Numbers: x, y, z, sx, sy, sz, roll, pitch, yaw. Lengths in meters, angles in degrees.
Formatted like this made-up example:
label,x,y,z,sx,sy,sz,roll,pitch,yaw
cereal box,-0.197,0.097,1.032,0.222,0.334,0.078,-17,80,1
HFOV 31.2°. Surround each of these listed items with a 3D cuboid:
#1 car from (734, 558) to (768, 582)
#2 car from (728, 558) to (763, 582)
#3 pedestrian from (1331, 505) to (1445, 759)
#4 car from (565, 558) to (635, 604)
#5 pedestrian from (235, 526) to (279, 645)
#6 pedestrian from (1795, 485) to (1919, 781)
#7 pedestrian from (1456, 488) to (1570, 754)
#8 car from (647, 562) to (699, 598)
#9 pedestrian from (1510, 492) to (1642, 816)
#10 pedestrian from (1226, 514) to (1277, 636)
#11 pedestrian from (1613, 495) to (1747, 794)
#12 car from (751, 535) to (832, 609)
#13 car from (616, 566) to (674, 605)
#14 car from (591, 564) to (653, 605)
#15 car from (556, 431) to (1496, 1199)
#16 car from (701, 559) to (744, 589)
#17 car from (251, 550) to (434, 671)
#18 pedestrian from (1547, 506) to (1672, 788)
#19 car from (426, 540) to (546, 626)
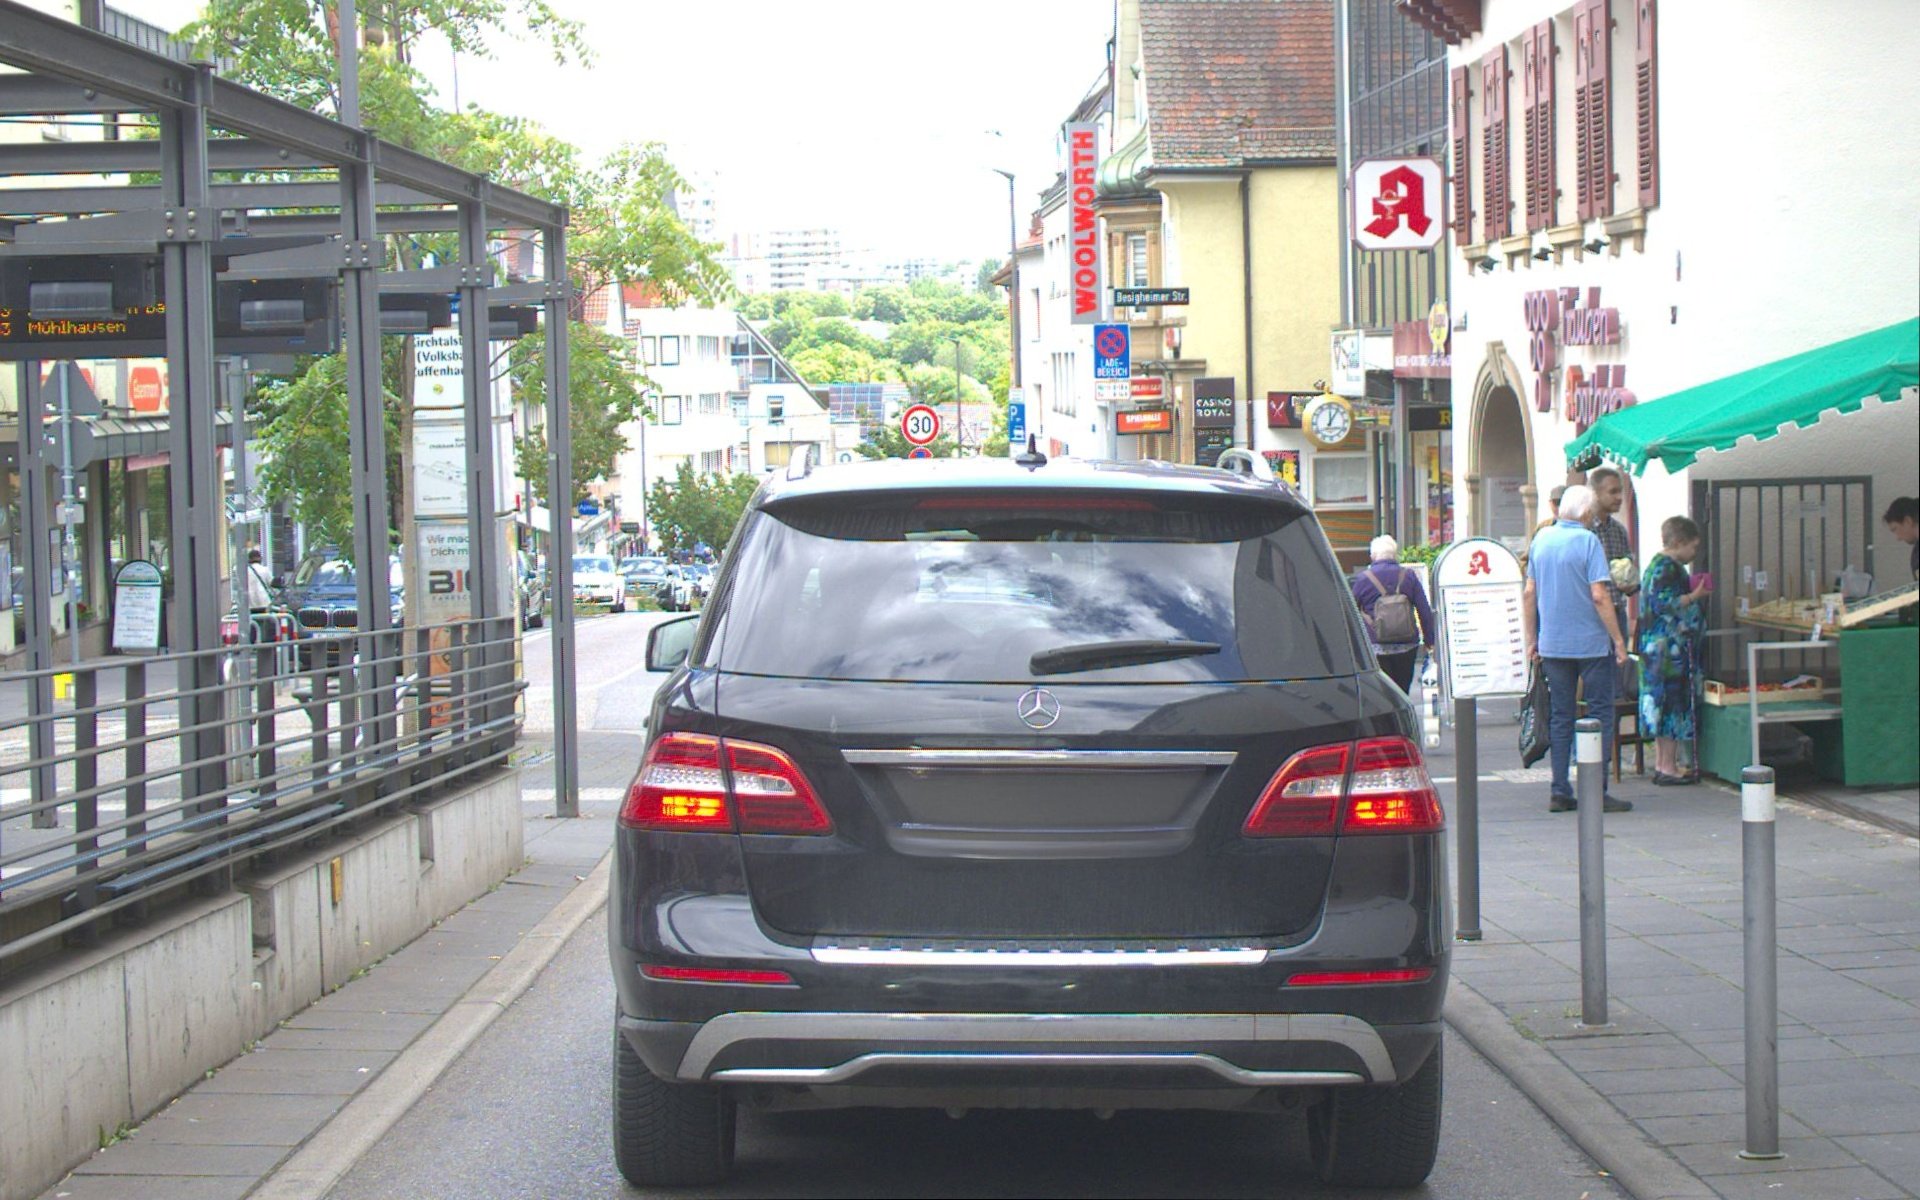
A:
label,x,y,z,sx,sy,sz,roll,pitch,yaw
car,-9.963,-1.434,164.025,1.388,1.066,3.113,-1,1,0
car,-9.913,-1.382,158.737,1.388,1.066,3.113,-1,1,0
pedestrian,2.886,0.209,23.194,0.621,1.683,0.566,1,1,-6
car,-8.883,-0.481,85.039,1.388,1.066,3.113,-1,1,0
pedestrian,-10.059,-0.214,49.208,0.513,1.683,0.541,1,1,-1
pedestrian,5.243,0.182,19.968,0.573,1.683,0.566,-2,1,-6
pedestrian,3.822,0.137,23.808,0.639,1.803,0.685,1,1,-1
car,-9.199,-0.657,110.429,1.388,1.066,3.113,-1,1,0
pedestrian,3.334,0.284,18.626,0.542,1.720,0.528,-2,1,-6
pedestrian,4.085,-0.355,48.242,0.606,1.683,0.724,-1,1,-1
pedestrian,4.147,0.246,19.830,0.573,1.683,0.566,-2,1,-6
car,-3.976,-0.684,81.716,1.770,1.707,4.000,1,1,-1
car,-9.355,-0.447,102.240,1.388,1.066,3.113,-1,1,0
car,-9.465,-0.437,96.416,1.388,1.066,3.113,-1,1,0
car,0.063,0.504,9.020,1.900,1.741,4.001,1,1,-2
car,-9.067,-0.987,131.459,1.388,1.066,3.113,-1,1,0
car,-8.067,0.100,45.206,1.689,1.484,3.979,1,1,0
pedestrian,3.932,0.275,20.846,0.573,1.683,0.566,1,1,-6
car,-8.566,-0.331,62.386,1.660,1.484,3.748,1,1,0
